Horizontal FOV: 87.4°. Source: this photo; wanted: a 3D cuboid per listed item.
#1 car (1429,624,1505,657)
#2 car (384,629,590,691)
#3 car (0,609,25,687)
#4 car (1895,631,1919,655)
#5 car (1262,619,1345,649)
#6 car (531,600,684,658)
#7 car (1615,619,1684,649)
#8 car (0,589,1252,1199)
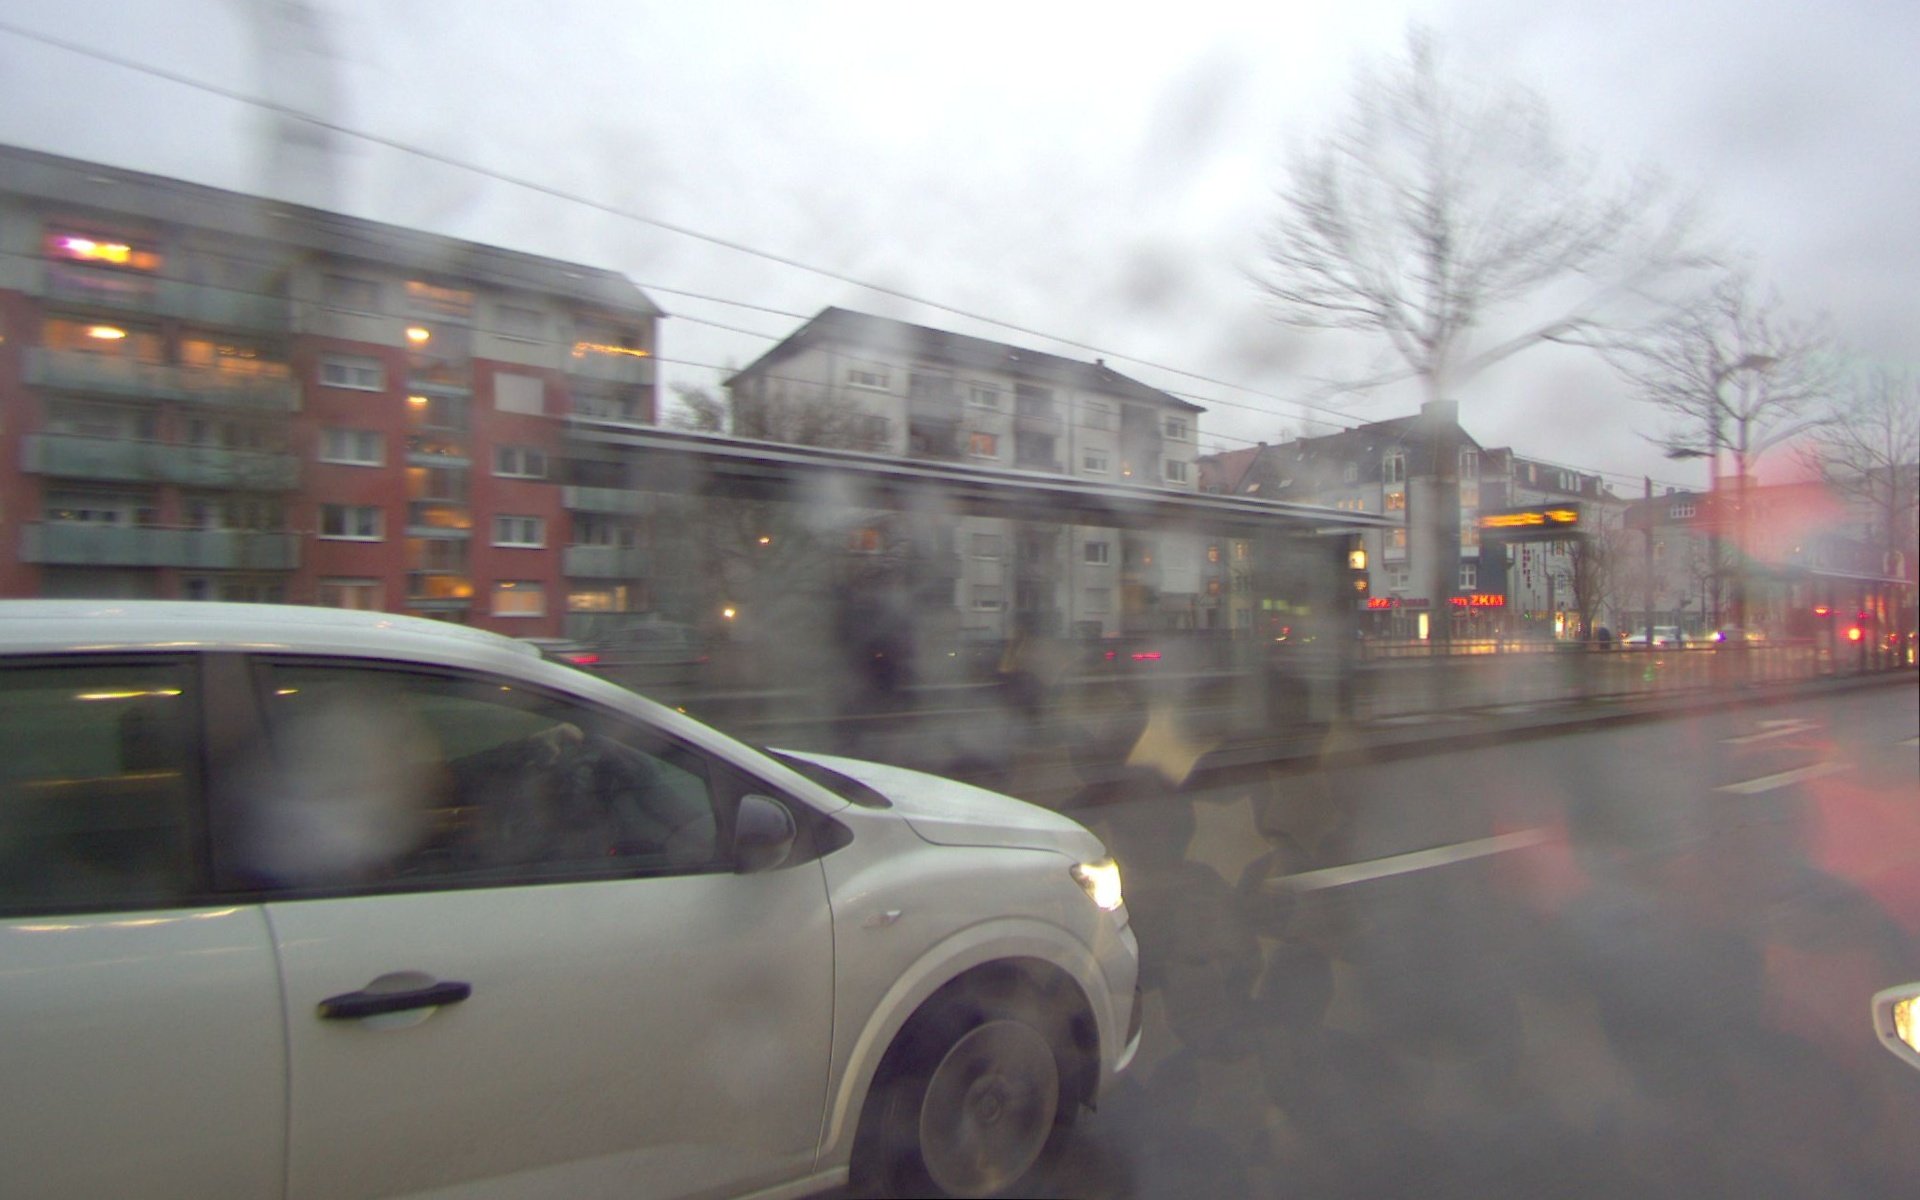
[{"bbox_3d":[24.594,1.977,48.682,3.722,1.517,1.747,2,-1,-35],"label":"car"},{"bbox_3d":[-11.179,1.396,23.833,4.173,1.310,1.767,2,-1,-36],"label":"car"},{"bbox_3d":[-23.082,0.988,21.571,4.109,1.667,1.714,2,-1,-35],"label":"car"},{"bbox_3d":[67.603,3.059,70.906,3.965,1.628,1.791,2,-1,-38],"label":"car"},{"bbox_3d":[17.979,1.774,52.701,1.685,1.384,3.765,2,-1,-40],"label":"car"},{"bbox_3d":[-10.789,0.911,30.809,4.109,1.667,1.714,2,-1,-35],"label":"car"},{"bbox_3d":[36.813,1.814,53.598,3.719,1.517,1.749,2,-1,-33],"label":"car"},{"bbox_3d":[-1.295,0.752,2.522,3.956,1.485,1.698,2,-1,-32],"label":"car"}]
